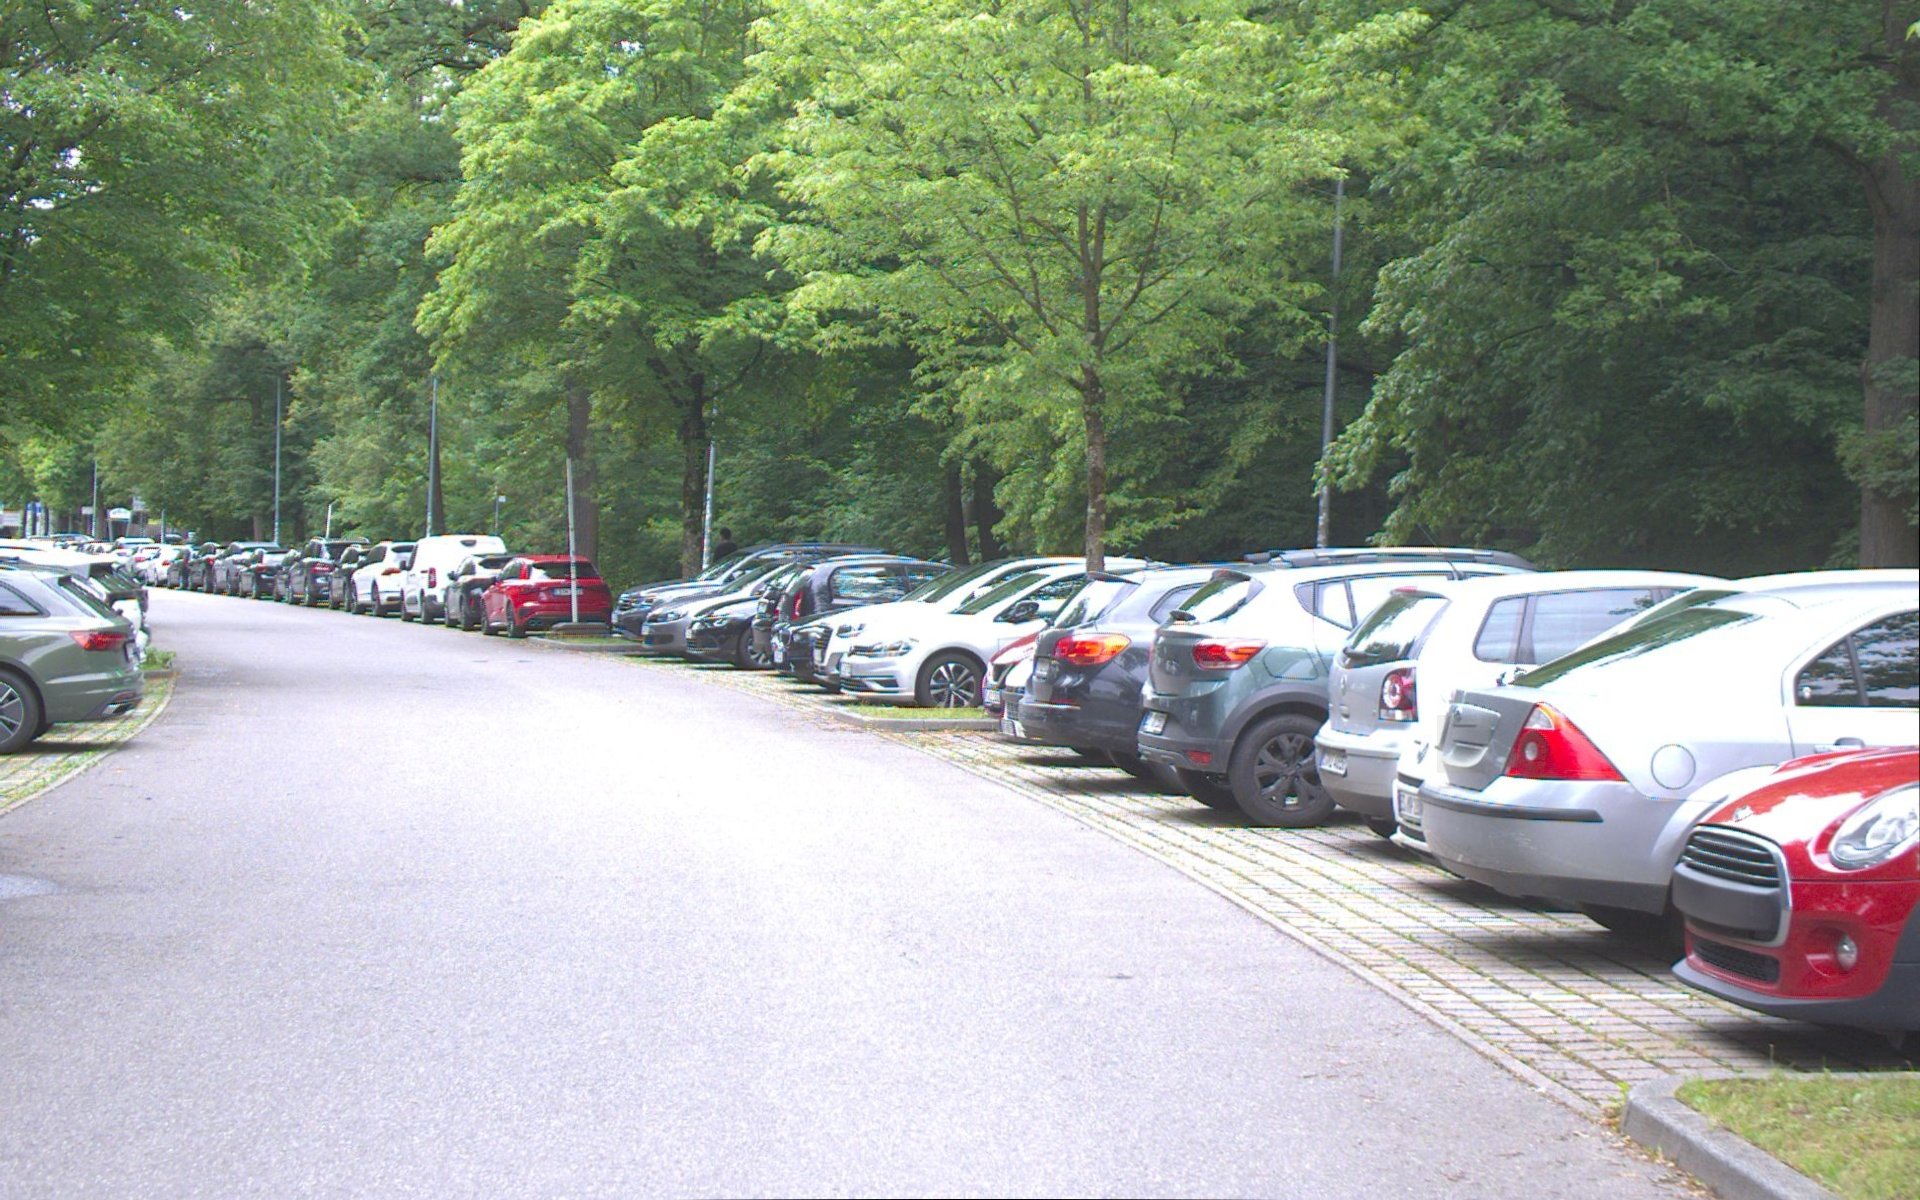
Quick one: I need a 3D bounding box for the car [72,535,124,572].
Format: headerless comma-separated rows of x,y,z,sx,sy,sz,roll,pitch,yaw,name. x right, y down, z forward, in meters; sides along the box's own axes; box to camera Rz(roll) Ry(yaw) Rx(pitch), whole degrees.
-35.679,-1.931,142.258,1.710,1.504,4.001,1,1,-19,car

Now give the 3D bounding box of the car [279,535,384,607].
-16.040,-0.756,87.599,1.889,1.741,4.950,1,1,-19,car

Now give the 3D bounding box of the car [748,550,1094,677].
-0.485,0.148,40.857,3.826,1.452,1.809,0,0,-12,car

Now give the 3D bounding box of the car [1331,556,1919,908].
3.719,0.577,15.784,3.701,1.505,1.751,1,0,-6,car

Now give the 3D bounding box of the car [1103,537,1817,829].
2.881,0.460,20.338,3.767,1.584,1.950,1,1,-7,car

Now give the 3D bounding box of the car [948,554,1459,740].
2.002,0.380,28.611,3.793,1.436,1.871,1,1,-18,car

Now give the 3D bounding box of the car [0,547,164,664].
-12.176,0.051,42.786,4.403,1.419,2.036,0,1,-13,car

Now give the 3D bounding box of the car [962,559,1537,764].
2.119,0.443,25.794,3.931,1.406,1.879,1,1,-9,car

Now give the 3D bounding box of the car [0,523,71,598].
-21.967,-0.895,76.305,4.223,1.627,2.030,1,1,-17,car

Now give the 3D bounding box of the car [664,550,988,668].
-1.800,0.112,45.649,3.986,1.470,1.953,1,1,-13,car

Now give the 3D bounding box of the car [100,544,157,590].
-31.613,-1.265,130.717,1.710,1.722,4.001,1,1,-19,car

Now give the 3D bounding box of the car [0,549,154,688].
-10.347,0.176,35.848,3.725,1.414,1.872,0,1,-11,car

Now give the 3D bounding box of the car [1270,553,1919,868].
3.705,0.550,17.954,3.842,1.540,1.731,1,1,-8,car

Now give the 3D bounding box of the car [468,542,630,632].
-7.247,-0.249,60.212,1.993,1.474,4.973,1,1,-17,car

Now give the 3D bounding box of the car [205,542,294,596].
-21.361,-0.945,103.195,1.977,1.532,4.623,1,1,-20,car

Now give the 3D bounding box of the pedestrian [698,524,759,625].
-4.026,-0.439,59.661,0.817,1.720,1.004,1,0,-17,pedestrian

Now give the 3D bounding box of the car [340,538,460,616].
-12.508,-0.530,76.563,1.785,1.657,4.719,1,1,-20,car

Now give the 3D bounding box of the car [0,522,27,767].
-8.688,0.284,23.676,4.232,1.641,1.970,0,1,-11,car

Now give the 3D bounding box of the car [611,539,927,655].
-2.681,-0.048,48.046,3.986,1.546,1.976,1,1,-20,car

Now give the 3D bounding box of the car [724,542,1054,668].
-0.916,0.044,43.055,3.826,1.526,1.851,0,1,-13,car

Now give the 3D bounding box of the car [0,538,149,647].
-13.450,-0.121,47.643,4.264,1.481,2.058,0,1,-13,car

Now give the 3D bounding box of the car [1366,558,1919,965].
3.807,0.589,13.400,4.126,1.456,1.865,0,0,-4,car

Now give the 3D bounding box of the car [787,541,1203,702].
0.327,0.210,35.726,4.007,1.553,1.978,1,1,-10,car

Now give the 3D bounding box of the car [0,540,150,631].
-15.462,-0.248,55.196,4.561,1.442,2.086,0,1,-20,car

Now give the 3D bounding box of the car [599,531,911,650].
-3.034,-0.143,50.559,4.264,1.660,1.959,1,1,-14,car

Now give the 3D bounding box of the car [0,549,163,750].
-8.483,0.346,26.035,4.638,1.473,2.095,0,1,-9,car

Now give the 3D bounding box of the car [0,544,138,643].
-14.892,-0.105,52.544,4.364,1.481,1.892,0,0,-19,car

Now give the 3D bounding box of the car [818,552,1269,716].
0.781,0.320,33.228,3.975,1.478,1.885,1,1,-14,car

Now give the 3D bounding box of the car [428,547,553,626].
-8.991,-0.276,65.576,1.725,1.418,4.285,1,1,-17,car

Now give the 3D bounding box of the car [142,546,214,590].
-27.277,-1.139,119.846,1.936,1.470,3.993,1,1,-21,car

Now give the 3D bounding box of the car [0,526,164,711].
-9.402,0.144,31.170,3.960,1.622,1.998,0,1,-3,car

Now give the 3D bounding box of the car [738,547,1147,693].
-0.221,0.213,38.201,4.186,1.506,1.894,1,1,-14,car

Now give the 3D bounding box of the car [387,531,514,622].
-10.510,-0.507,70.679,1.744,1.774,4.553,1,1,-19,car

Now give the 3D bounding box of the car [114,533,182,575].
-29.621,-1.672,125.331,1.721,1.489,3.775,1,1,-24,car

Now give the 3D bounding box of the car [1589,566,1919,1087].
4.199,0.638,10.751,3.986,1.445,1.941,0,1,-6,car

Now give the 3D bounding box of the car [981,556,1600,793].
2.179,0.482,23.145,3.767,1.476,1.774,1,1,-11,car

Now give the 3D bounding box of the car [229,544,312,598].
-19.603,-0.834,97.608,1.636,1.472,4.152,1,1,-21,car
